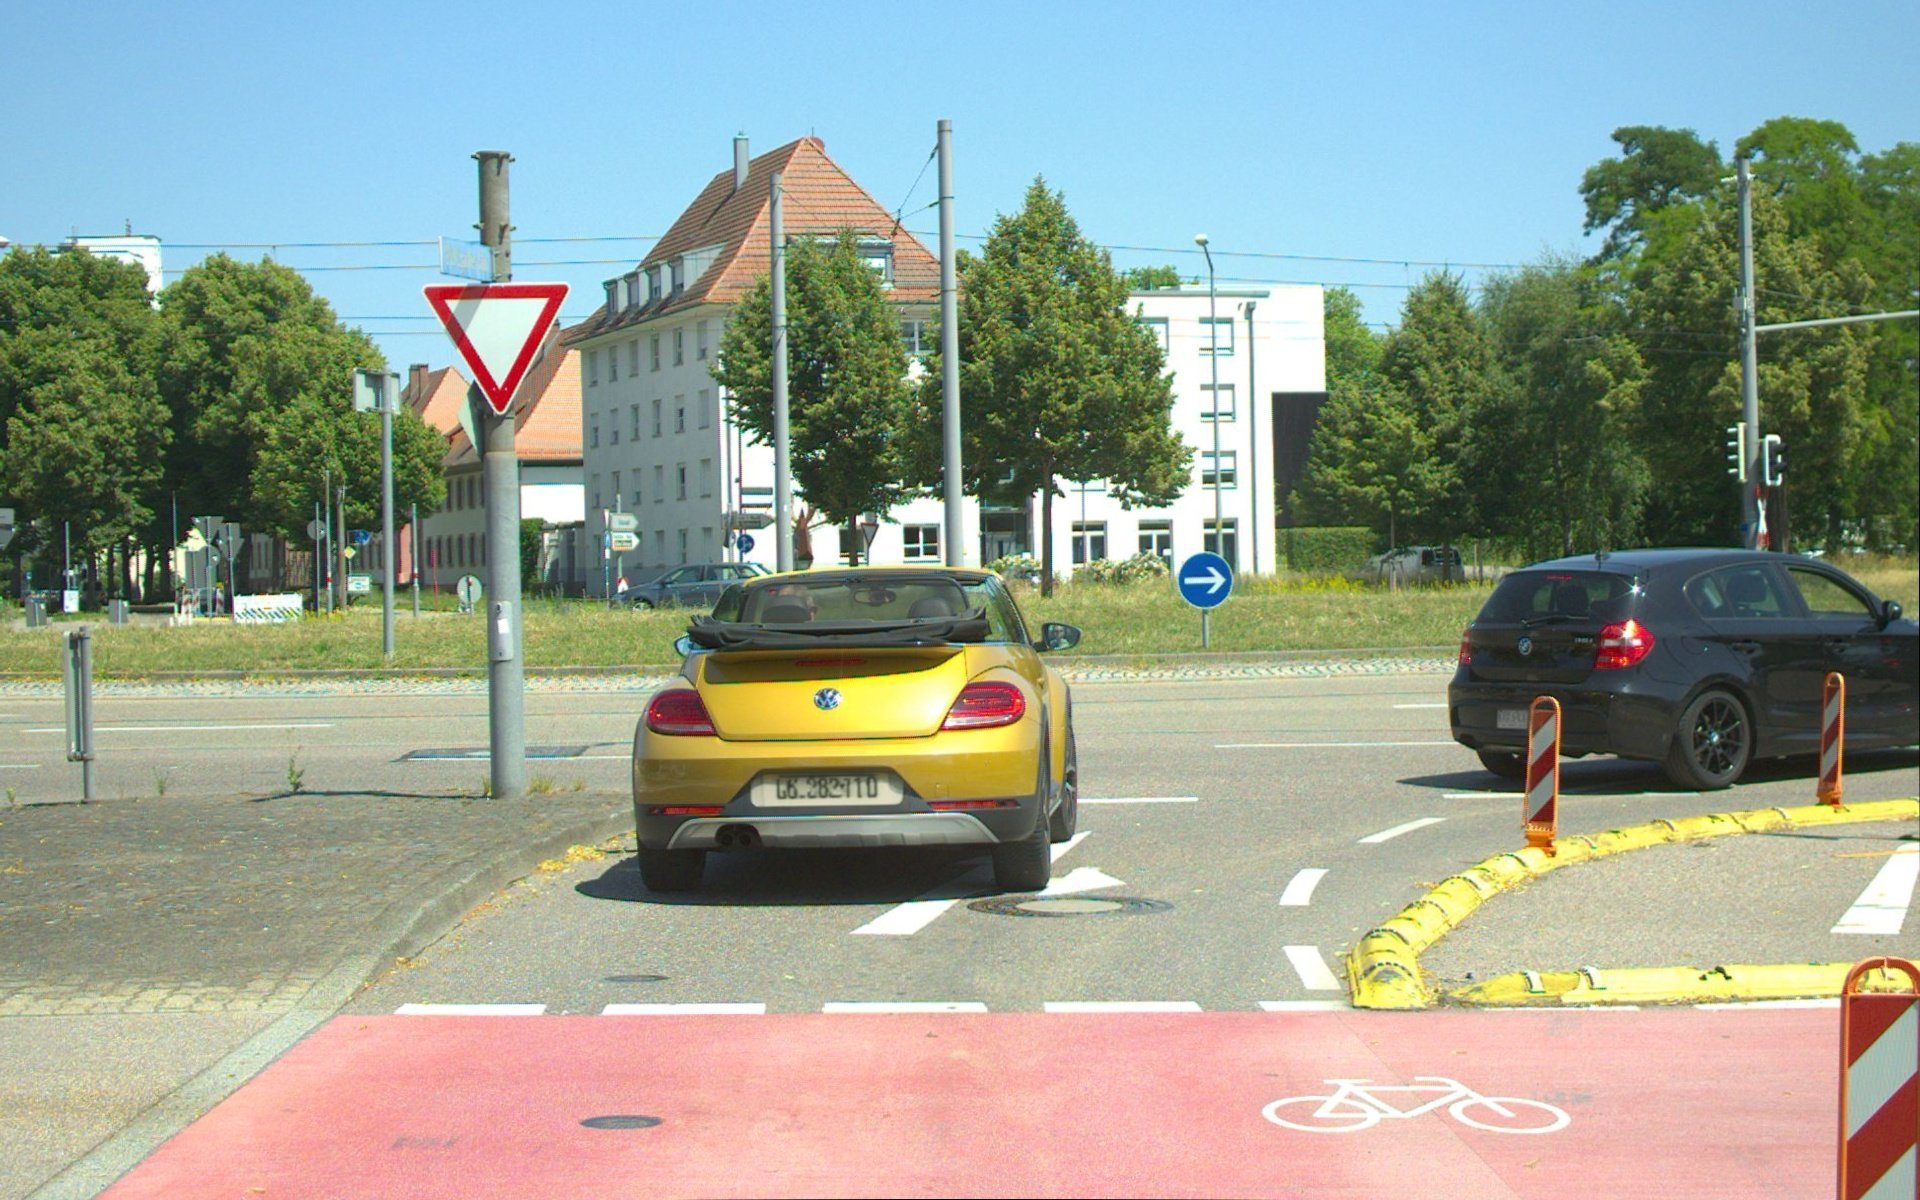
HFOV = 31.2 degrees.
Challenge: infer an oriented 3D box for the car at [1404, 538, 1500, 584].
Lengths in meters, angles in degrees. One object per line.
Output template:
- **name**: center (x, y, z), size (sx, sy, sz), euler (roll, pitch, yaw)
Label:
- **car**: center (21.843, -1.735, 152.555), size (3.990, 2.007, 1.999), euler (0, 0, 15)

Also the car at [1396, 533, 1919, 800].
- **car**: center (4.839, 0.343, 21.370), size (3.987, 1.435, 1.803), euler (-2, 2, -33)

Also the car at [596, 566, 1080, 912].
- **car**: center (-0.446, 0.558, 16.042), size (1.826, 1.398, 3.661), euler (0, 1, 5)

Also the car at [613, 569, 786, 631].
- **car**: center (-6.292, -0.003, 83.373), size (3.987, 1.459, 2.000), euler (0, 0, 2)

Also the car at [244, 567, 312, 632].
- **car**: center (-21.794, -0.023, 109.814), size (1.993, 2.007, 4.001), euler (0, 0, -13)

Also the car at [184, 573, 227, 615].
- **car**: center (-36.664, -0.288, 167.033), size (1.993, 2.007, 4.001), euler (0, 0, -13)

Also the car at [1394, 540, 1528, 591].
- **car**: center (16.765, -1.158, 115.048), size (3.986, 1.678, 2.001), euler (0, 0, -12)

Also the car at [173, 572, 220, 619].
- **car**: center (-33.356, -0.210, 150.144), size (1.993, 2.007, 4.001), euler (0, 0, -13)
